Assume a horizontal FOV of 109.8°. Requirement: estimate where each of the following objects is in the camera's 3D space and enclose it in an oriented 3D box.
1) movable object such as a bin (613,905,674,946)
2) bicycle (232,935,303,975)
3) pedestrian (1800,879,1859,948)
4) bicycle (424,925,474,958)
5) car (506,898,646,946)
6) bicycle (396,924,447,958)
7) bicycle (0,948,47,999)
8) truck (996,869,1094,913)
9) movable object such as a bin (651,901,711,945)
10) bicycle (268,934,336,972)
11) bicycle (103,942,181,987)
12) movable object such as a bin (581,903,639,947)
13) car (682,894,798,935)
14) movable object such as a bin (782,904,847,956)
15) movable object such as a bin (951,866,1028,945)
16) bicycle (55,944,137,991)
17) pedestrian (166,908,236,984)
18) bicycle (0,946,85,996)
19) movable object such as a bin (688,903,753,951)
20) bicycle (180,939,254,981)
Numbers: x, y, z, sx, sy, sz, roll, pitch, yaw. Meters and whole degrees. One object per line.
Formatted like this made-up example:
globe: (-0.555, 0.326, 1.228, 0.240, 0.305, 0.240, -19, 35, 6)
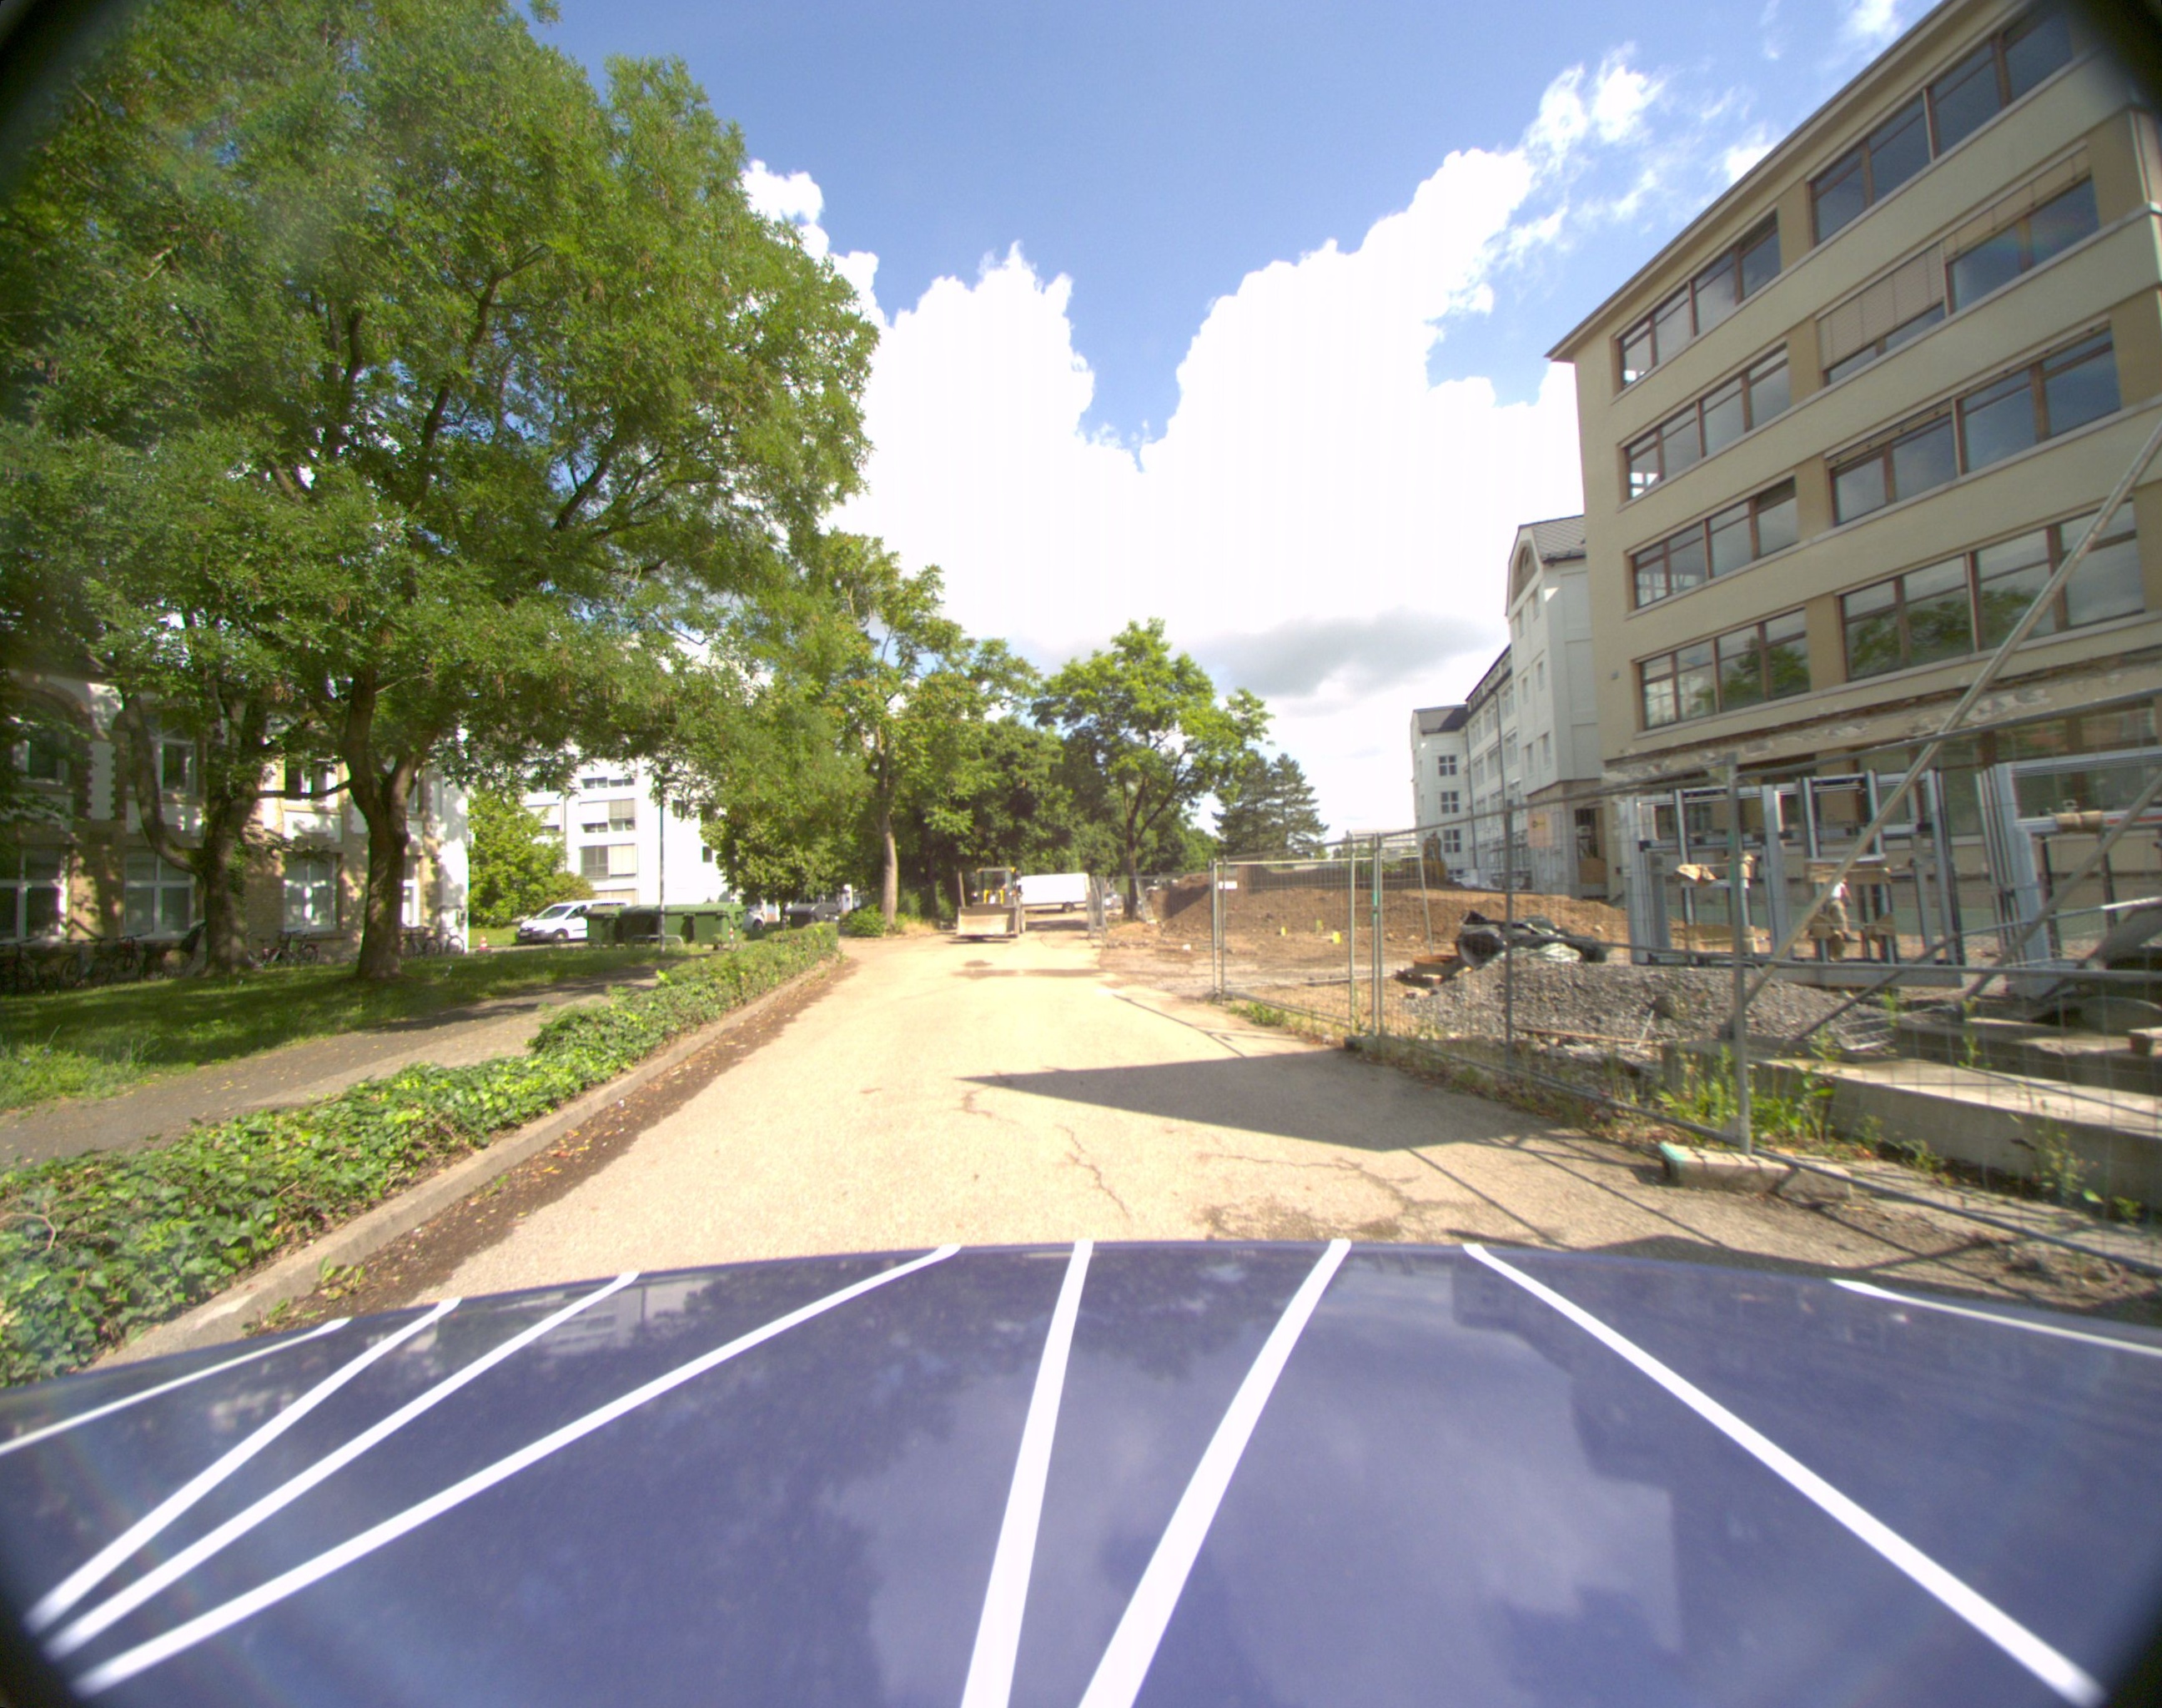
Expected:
movable object such as a bin: (-13.616, 2.218, 23.653, 1.272, 1.213, 1.030, -2, -1, 13)
bicycle: (-21.072, 2.600, 19.683, 1.817, 0.981, 0.428, -2, -3, 15)
pedestrian: (14.936, 1.186, 15.182, 0.462, 1.304, 0.636, -6, -4, 15)
bicycle: (-19.750, 2.729, 23.733, 1.455, 0.981, 0.428, -2, -3, 15)
car: (-23.007, 3.076, 34.908, 2.035, 1.851, 5.102, -3, -2, 21)
bicycle: (-20.012, 2.636, 23.061, 1.455, 0.981, 0.428, -2, -3, 17)
bicycle: (-22.108, 2.431, 15.578, 1.817, 0.981, 0.428, -2, -3, 15)
truck: (-2.423, 2.531, 52.489, 6.552, 2.762, 2.000, -2, 1, 2)
movable object such as a bin: (-12.225, 2.106, 23.256, 1.254, 1.258, 1.001, -2, -1, 13)
bicycle: (-20.902, 2.645, 20.386, 1.817, 0.981, 0.428, -2, -3, 15)
bicycle: (-21.711, 2.542, 17.566, 1.817, 0.981, 0.428, -2, -3, 15)
movable object such as a bin: (-14.914, 2.242, 24.091, 1.189, 1.285, 1.004, -2, -1, 13)
car: (-14.831, 2.601, 33.427, 1.807, 1.487, 5.100, -3, -2, 15)
movable object such as a bin: (-7.495, 2.114, 21.372, 1.320, 1.349, 1.133, -3, -2, 35)
movable object such as a bin: (-3.003, 1.650, 26.048, 1.998, 2.429, 5.434, 0, -1, 0)
bicycle: (-21.831, 2.510, 16.834, 1.817, 0.981, 0.428, -2, -3, 15)
pedestrian: (-19.700, 2.036, 17.025, 0.569, 1.613, 0.859, -3, -2, 13)
bicycle: (-22.044, 2.469, 16.118, 1.817, 0.981, 0.428, -2, -3, 15)
movable object such as a bin: (-10.870, 2.201, 22.923, 1.364, 1.344, 1.095, -2, -1, 13)
bicycle: (-21.277, 2.596, 18.715, 1.817, 0.981, 0.428, -2, -3, 15)
